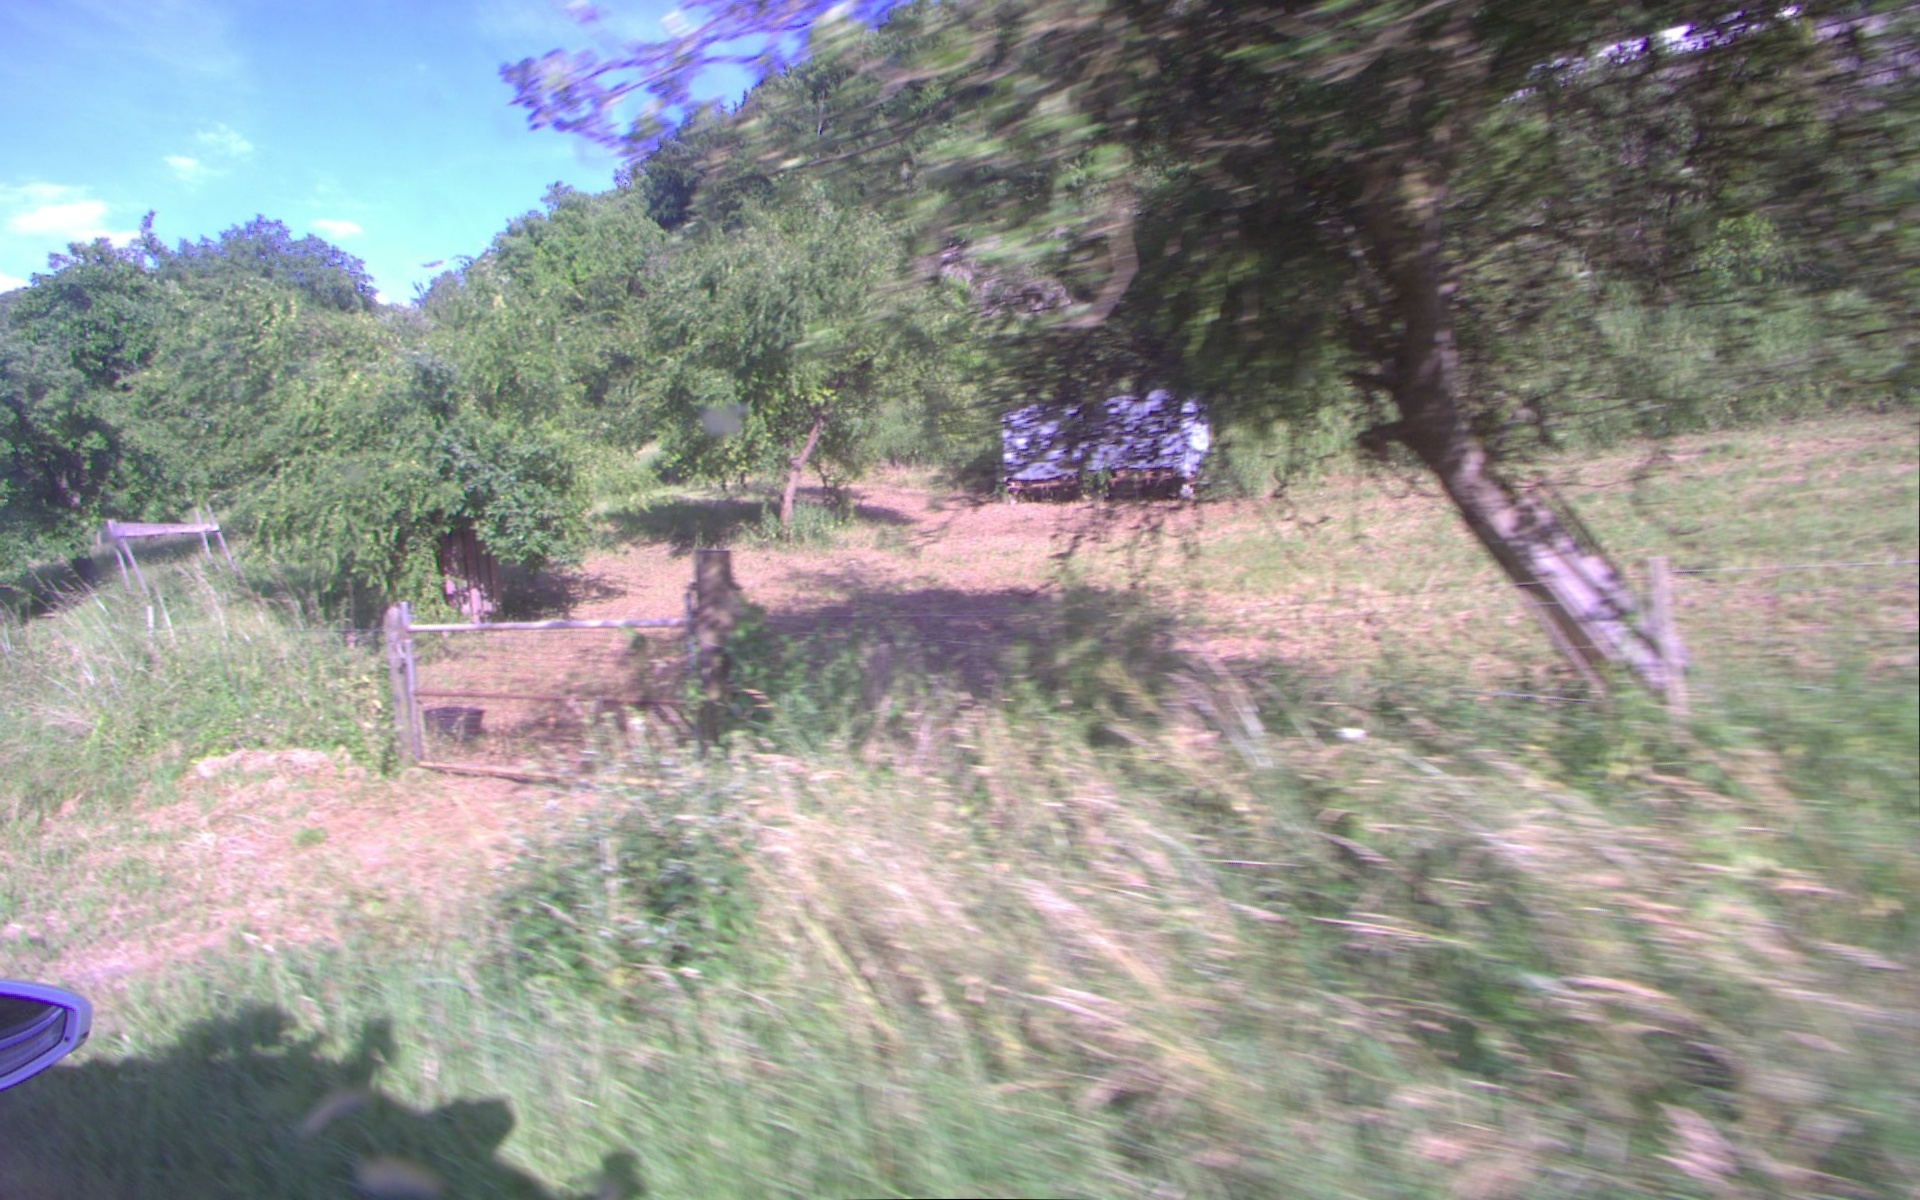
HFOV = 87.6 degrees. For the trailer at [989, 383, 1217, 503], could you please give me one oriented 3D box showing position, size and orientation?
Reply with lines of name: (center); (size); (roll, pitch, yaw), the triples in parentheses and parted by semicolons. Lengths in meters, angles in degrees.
trailer: (3.514, -3.769, 24.934); (5.164, 2.595, 2.149); (3, 4, 28)
